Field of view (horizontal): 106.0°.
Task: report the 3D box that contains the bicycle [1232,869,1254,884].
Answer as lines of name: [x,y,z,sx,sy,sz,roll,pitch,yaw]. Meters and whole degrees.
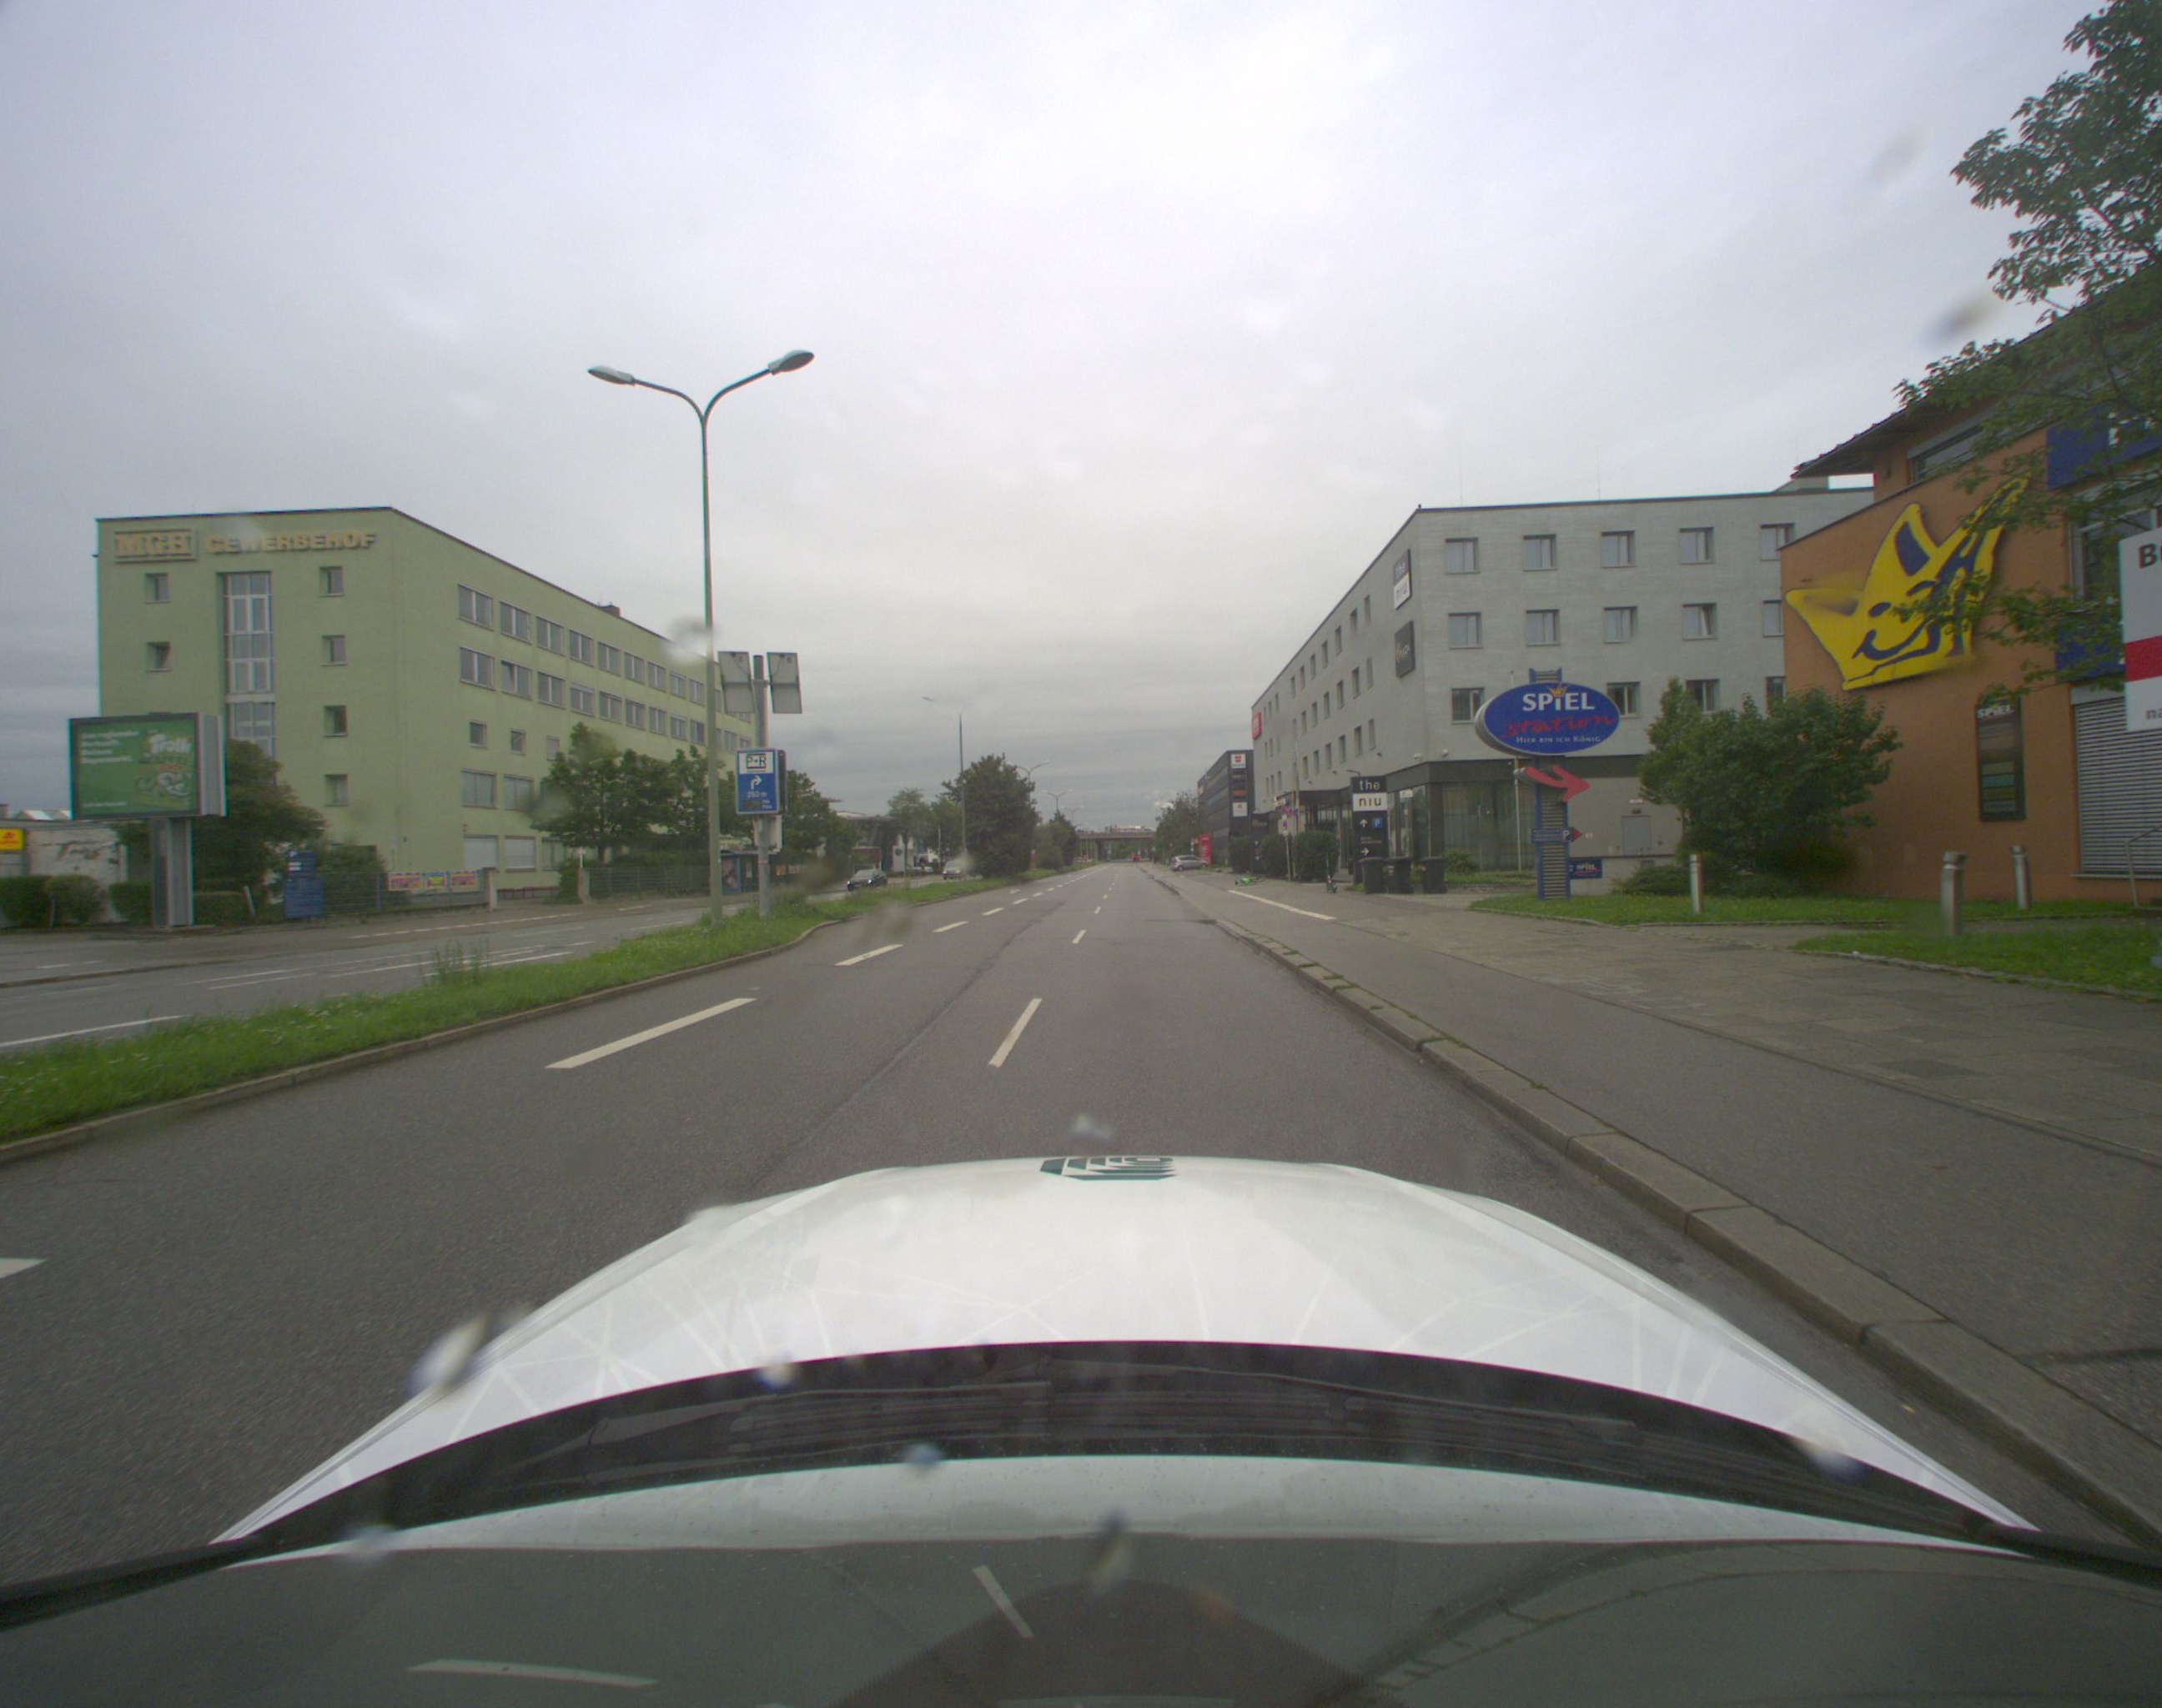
bicycle: [7.290,1.018,36.724,0.717,0.548,1.733,-5,-1,3]

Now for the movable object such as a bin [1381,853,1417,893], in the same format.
movable object such as a bin: [9.050,0.533,23.187,0.734,1.078,0.656,-3,-1,3]

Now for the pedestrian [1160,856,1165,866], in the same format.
pedestrian: [15.758,1.288,157.391,0.686,1.876,0.662,-3,-1,2]

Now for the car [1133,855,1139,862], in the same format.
car: [16.685,1.392,247.644,1.804,2.013,3.838,-1,0,5]

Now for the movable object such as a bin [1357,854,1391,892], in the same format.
movable object such as a bin: [8.597,0.556,23.944,0.734,1.078,0.656,-3,-1,3]

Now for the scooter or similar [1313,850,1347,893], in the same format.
scooter or similar: [7.995,0.548,26.193,0.583,1.277,1.405,-7,-1,3]

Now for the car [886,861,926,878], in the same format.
car: [-22.332,1.954,103.995,4.648,1.842,1.789,-3,-1,-20]

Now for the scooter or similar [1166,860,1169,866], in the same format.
scooter or similar: [14.246,1.528,134.159,0.303,1.004,1.220,-3,0,1]

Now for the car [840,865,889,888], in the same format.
car: [-15.050,1.553,56.841,1.986,1.401,4.657,-3,0,2]

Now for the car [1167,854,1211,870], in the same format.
car: [10.978,0.780,82.648,4.020,1.557,1.811,-1,0,-15]

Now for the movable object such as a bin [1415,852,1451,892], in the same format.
movable object such as a bin: [10.113,0.509,23.422,0.734,1.078,0.656,-3,-1,3]

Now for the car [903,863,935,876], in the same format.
car: [-22.439,2.114,112.824,3.951,1.509,1.811,-3,-1,24]

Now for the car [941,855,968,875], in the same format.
car: [-13.621,1.160,87.956,1.986,1.961,4.326,-3,0,2]
